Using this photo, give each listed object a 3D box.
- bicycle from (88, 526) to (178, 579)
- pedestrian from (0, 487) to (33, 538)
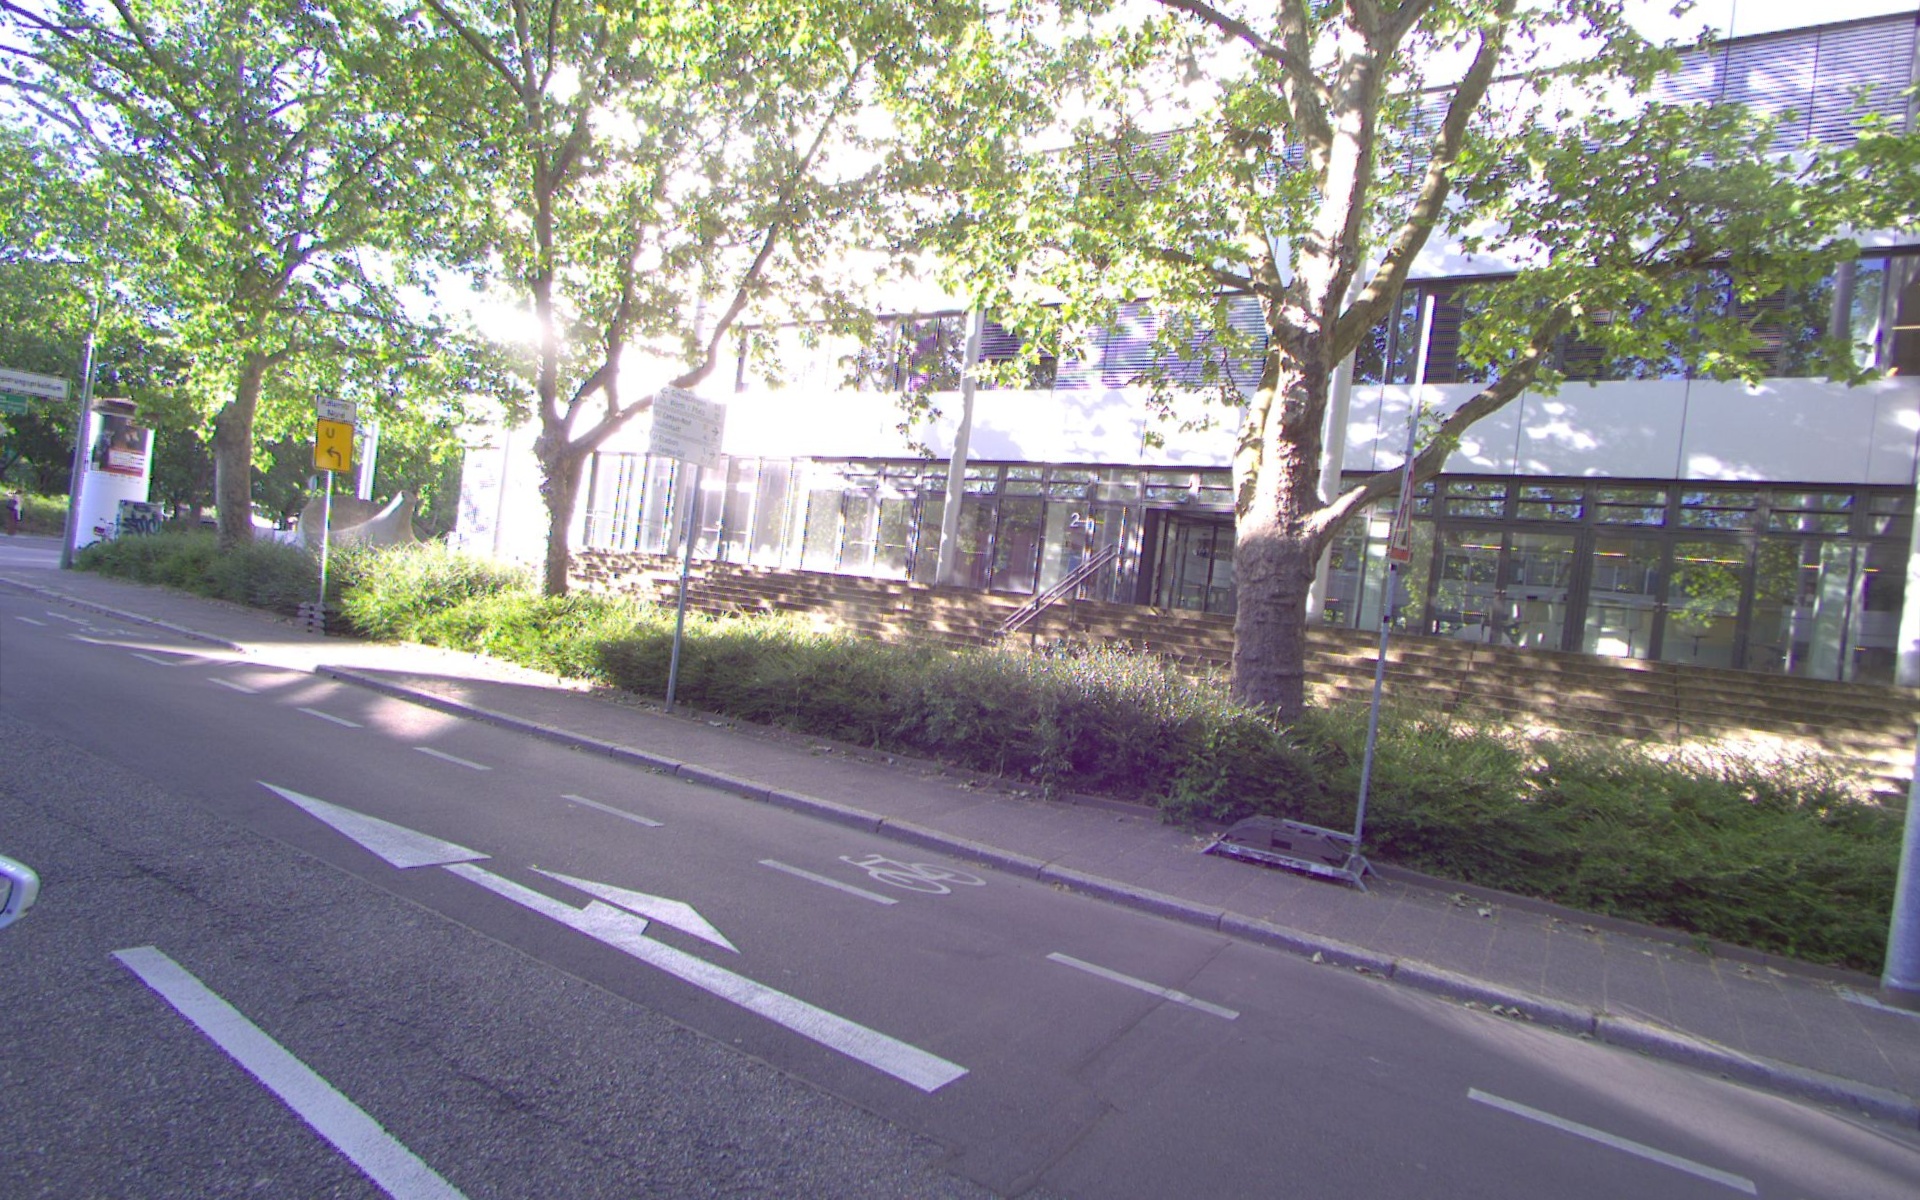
[{"bbox_3d":[-19.027,-1.074,23.164,0.295,0.991,1.484,6,-2,37],"label":"bicycle"},{"bbox_3d":[-35.981,-3.319,38.329,0.672,1.793,0.613,8,-1,-29],"label":"pedestrian"}]
